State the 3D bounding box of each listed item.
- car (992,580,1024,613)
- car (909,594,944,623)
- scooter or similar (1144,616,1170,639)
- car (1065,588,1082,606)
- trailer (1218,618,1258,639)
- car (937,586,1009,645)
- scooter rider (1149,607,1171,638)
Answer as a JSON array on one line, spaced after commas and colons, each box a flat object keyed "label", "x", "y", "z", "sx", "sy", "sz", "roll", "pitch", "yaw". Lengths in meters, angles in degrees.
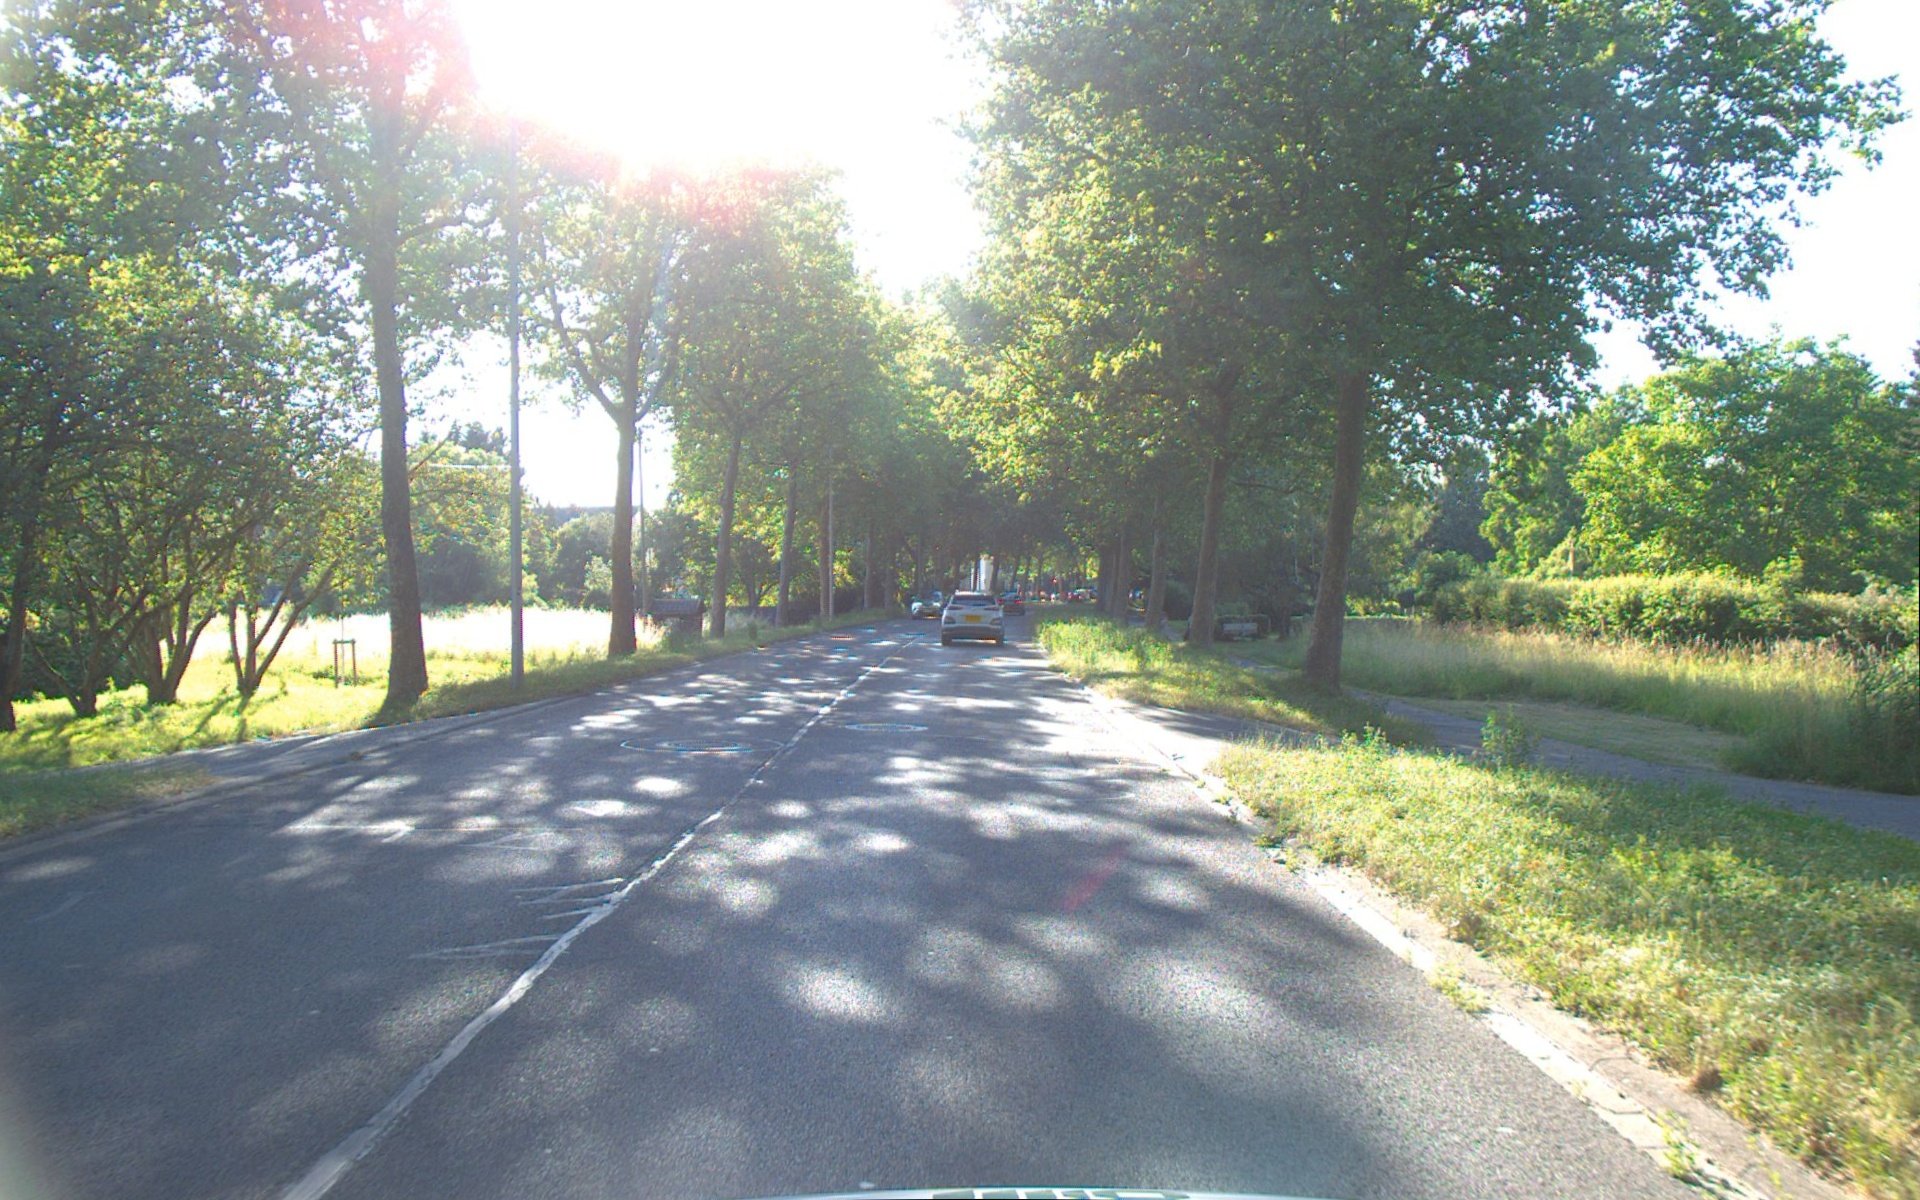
[{"label": "car", "x": 3.144, "y": -0.204, "z": 107.210, "sx": 1.952, "sy": 2.049, "sz": 4.001, "roll": 1, "pitch": 0, "yaw": 3}, {"label": "car", "x": -1.756, "y": 0.461, "z": 88.730, "sx": 1.680, "sy": 1.531, "sz": 4.000, "roll": 1, "pitch": 0, "yaw": 1}, {"label": "scooter or similar", "x": 10.264, "y": 1.440, "z": 86.184, "sx": 1.585, "sy": 1.155, "sz": 0.335, "roll": 1, "pitch": -1, "yaw": -42}, {"label": "car", "x": 13.645, "y": -0.329, "z": 198.403, "sx": 1.952, "sy": 2.049, "sz": 4.002, "roll": 1, "pitch": 0, "yaw": 4}, {"label": "trailer", "x": 14.966, "y": 1.515, "z": 89.144, "sx": 2.072, "sy": 1.071, "sz": 1.201, "roll": 1, "pitch": 0, "yaw": 7}, {"label": "car", "x": 0.426, "y": 0.439, "z": 47.993, "sx": 1.952, "sy": 1.602, "sz": 4.001, "roll": 1, "pitch": 0, "yaw": 2}, {"label": "scooter rider", "x": 10.451, "y": 1.173, "z": 86.296, "sx": 0.837, "sy": 1.604, "sz": 0.773, "roll": 1, "pitch": -1, "yaw": -40}]
